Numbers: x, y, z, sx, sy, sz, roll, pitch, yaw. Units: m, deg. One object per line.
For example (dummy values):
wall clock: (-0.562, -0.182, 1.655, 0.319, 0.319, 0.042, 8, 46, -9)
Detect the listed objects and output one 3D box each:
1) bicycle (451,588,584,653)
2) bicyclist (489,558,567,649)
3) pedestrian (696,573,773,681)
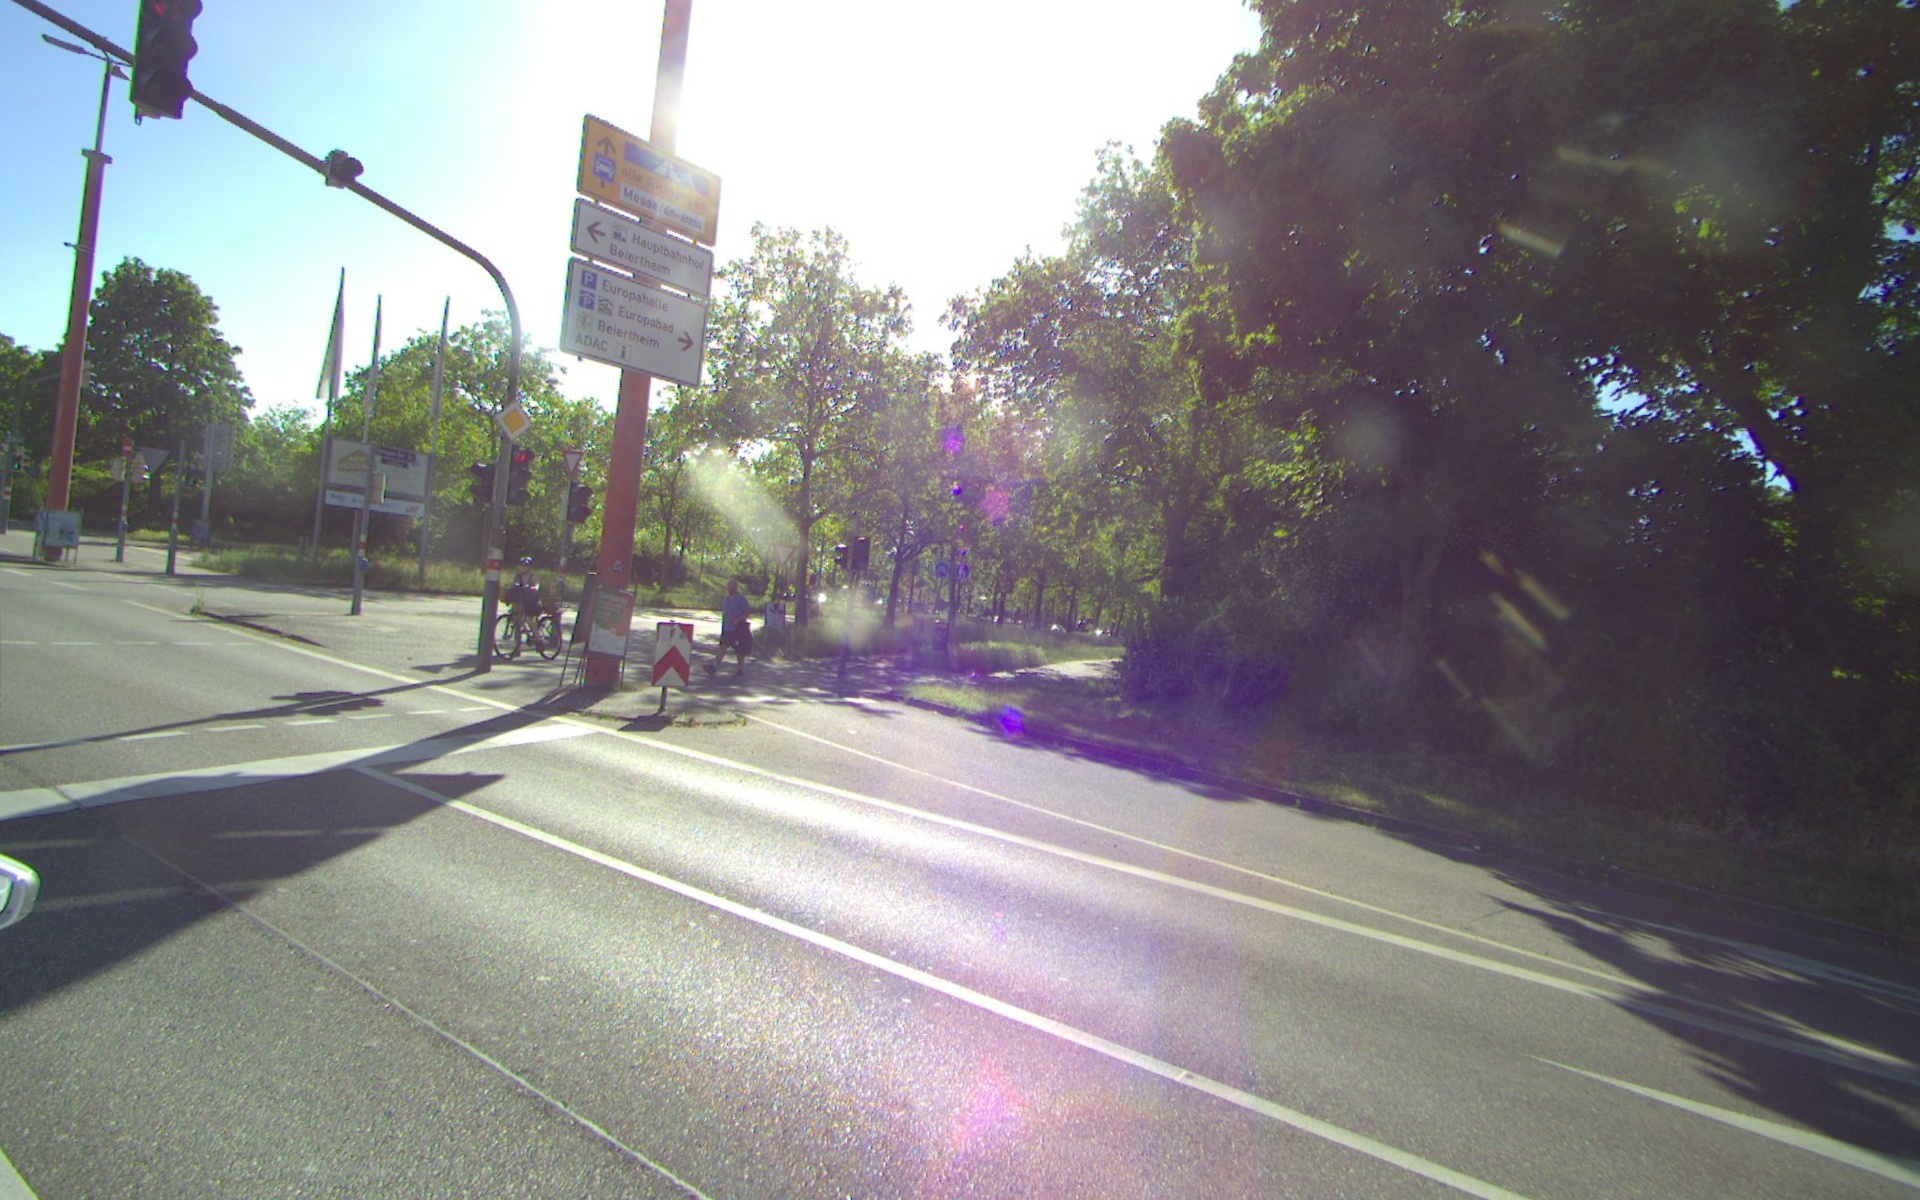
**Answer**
bicycle: (-7.060, 0.361, 16.187, 0.549, 0.889, 2.169, 7, -1, 19)
bicyclist: (-6.948, 0.071, 16.191, 0.695, 1.358, 0.742, 7, 0, 21)
pedestrian: (-4.086, 0.496, 18.284, 0.883, 1.810, 0.895, 8, 0, 10)
